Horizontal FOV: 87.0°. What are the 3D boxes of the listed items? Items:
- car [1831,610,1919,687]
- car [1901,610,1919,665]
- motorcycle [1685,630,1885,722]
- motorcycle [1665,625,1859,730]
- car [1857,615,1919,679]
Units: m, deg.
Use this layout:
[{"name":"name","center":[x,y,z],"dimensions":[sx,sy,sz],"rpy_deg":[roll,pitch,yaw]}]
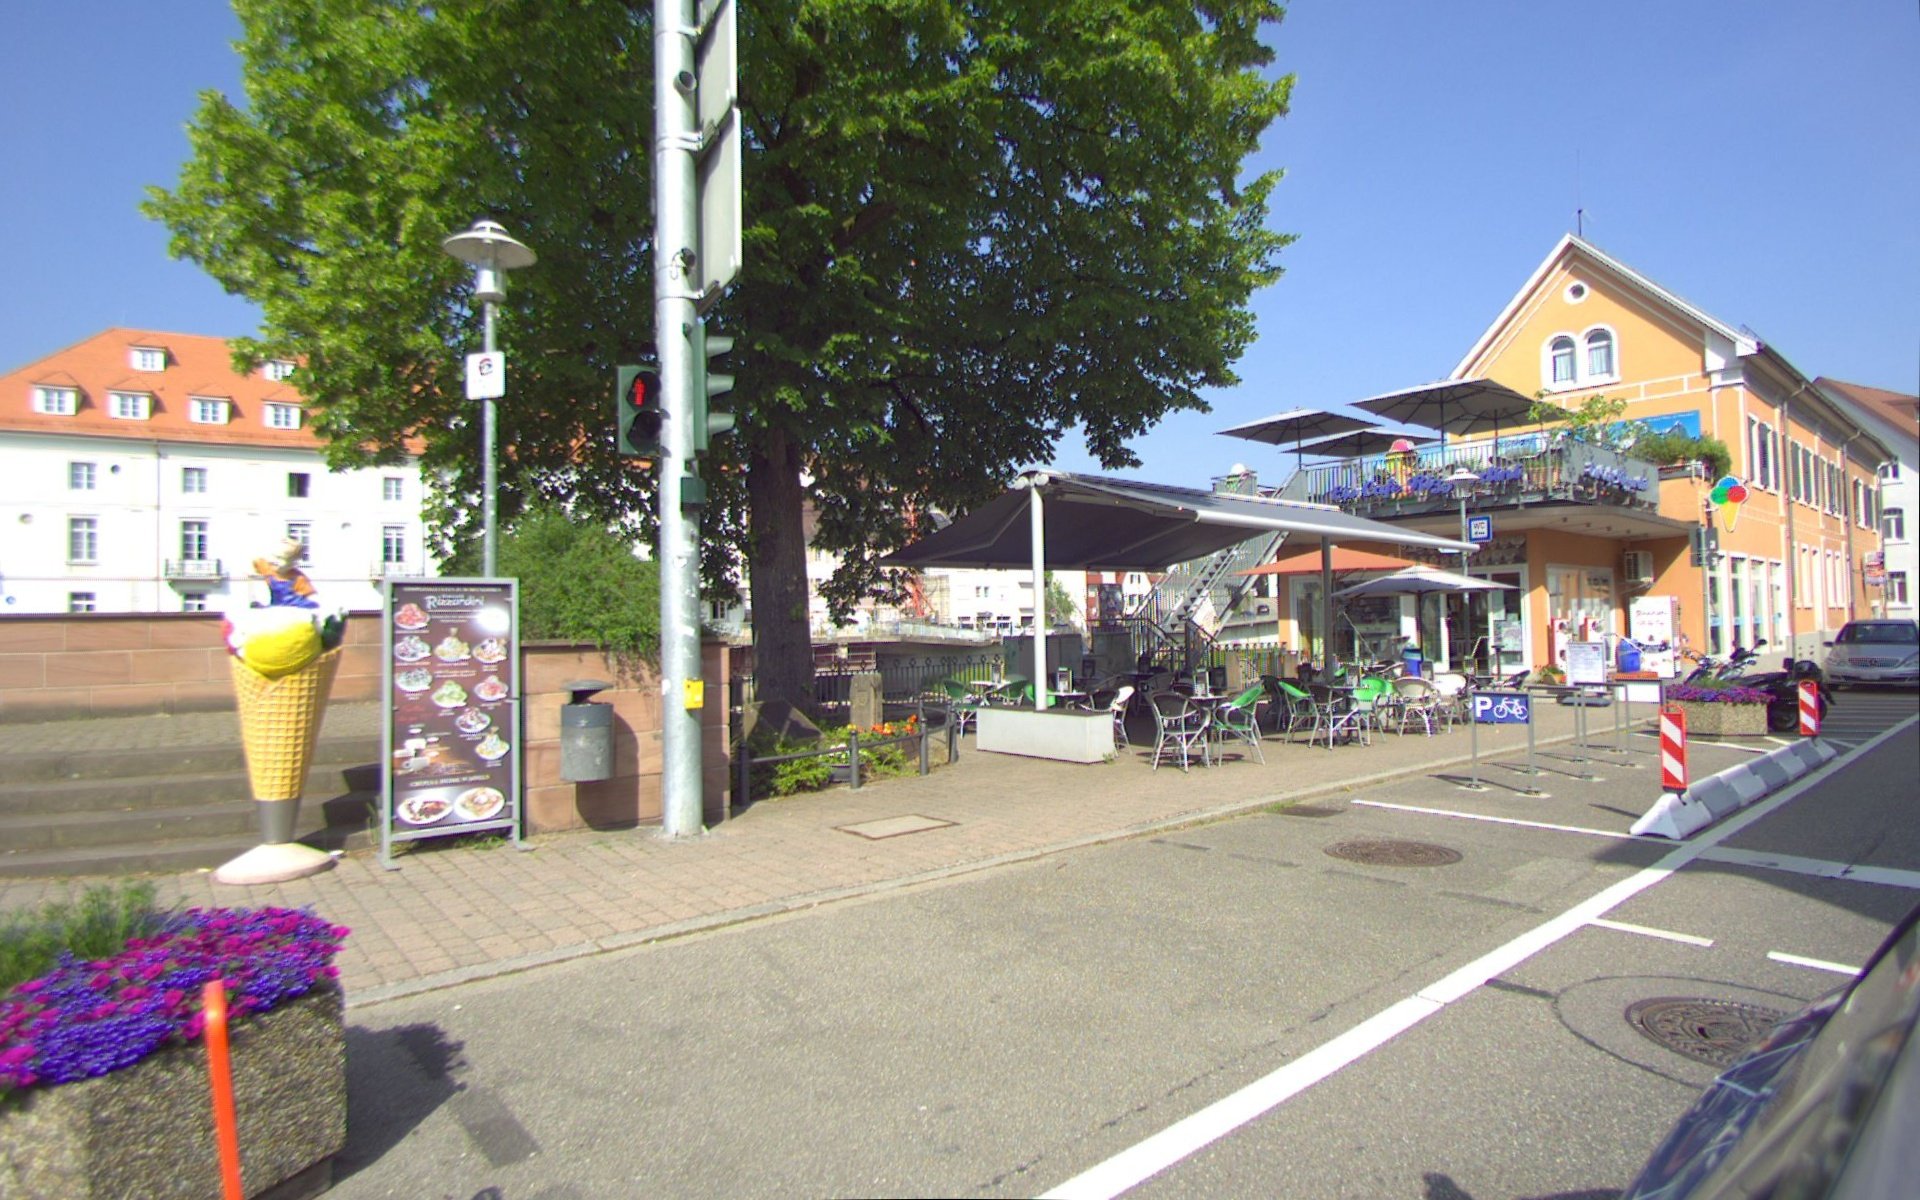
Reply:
[{"name":"car","center":[21.295,1.059,23.020],"dimensions":[4.516,1.618,1.746],"rpy_deg":[1,-3,-43]},{"name":"car","center":[30.644,1.155,31.365],"dimensions":[4.175,1.666,1.682],"rpy_deg":[1,-1,-40]},{"name":"motorcycle","center":[12.096,1.094,14.921],"dimensions":[2.057,1.286,0.926],"rpy_deg":[0,-1,10]},{"name":"motorcycle","center":[11.118,1.045,14.117],"dimensions":[1.872,1.375,0.913],"rpy_deg":[0,-2,15]},{"name":"car","center":[24.877,1.190,26.358],"dimensions":[4.031,1.579,1.681],"rpy_deg":[1,-3,-40]}]
